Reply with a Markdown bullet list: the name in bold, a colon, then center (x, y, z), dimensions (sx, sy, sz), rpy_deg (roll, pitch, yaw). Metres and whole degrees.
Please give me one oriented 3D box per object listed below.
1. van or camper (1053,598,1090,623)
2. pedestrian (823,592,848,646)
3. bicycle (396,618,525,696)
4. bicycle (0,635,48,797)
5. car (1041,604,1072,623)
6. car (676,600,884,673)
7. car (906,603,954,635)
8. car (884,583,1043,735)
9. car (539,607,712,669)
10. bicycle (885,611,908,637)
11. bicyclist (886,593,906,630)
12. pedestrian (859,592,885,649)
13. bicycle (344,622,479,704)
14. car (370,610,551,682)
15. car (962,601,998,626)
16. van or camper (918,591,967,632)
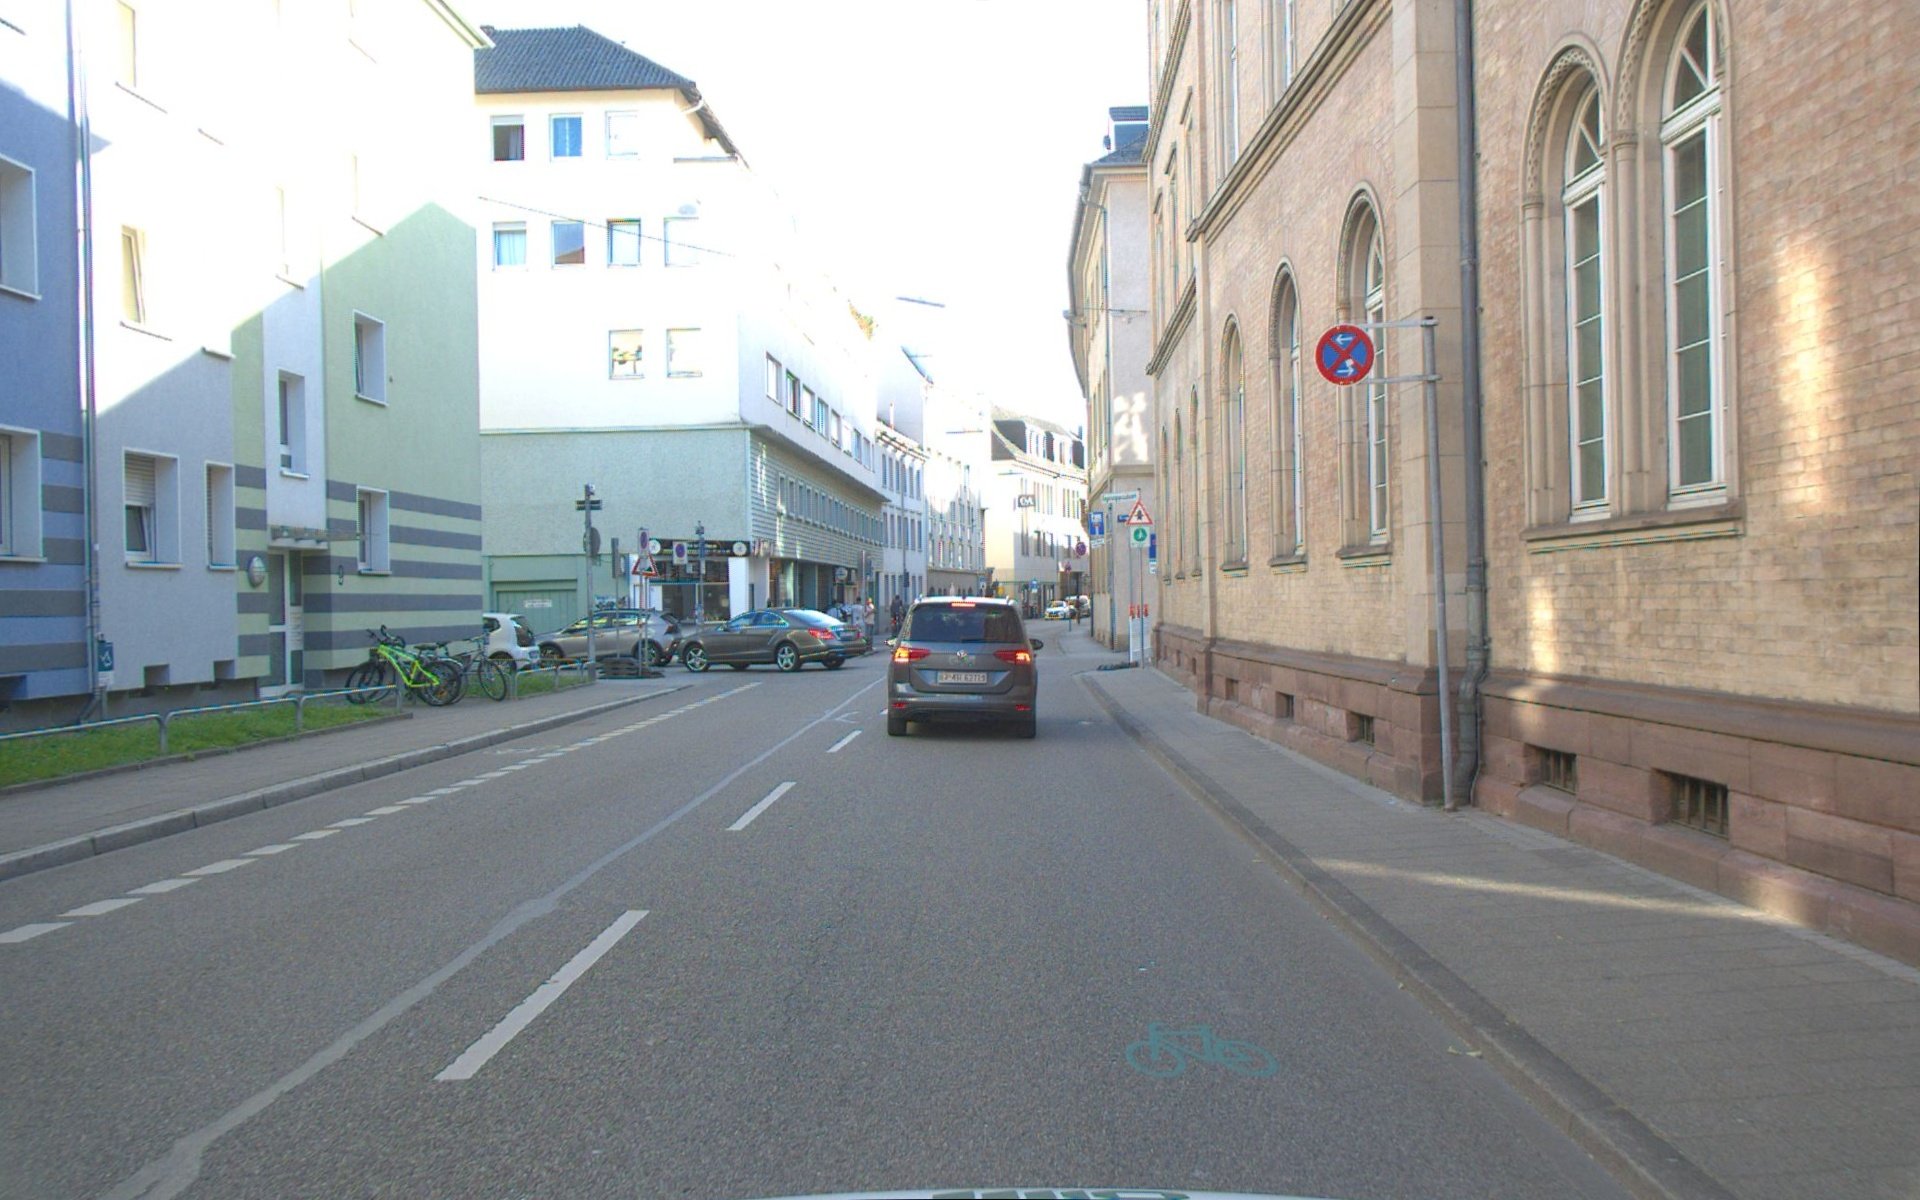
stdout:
- **van or camper**: center (9.368, 0.889, 138.593), dimensions (1.951, 2.049, 5.001), rpy_deg (-1, 0, 17)
- **pedestrian**: center (-4.308, 0.666, 57.320), dimensions (0.544, 1.861, 0.730), rpy_deg (-1, 0, 25)
- **bicycle**: center (-8.134, 0.927, 26.965), dimensions (1.893, 1.200, 0.612), rpy_deg (2, -1, -8)
- **bicycle**: center (-8.476, 0.926, 13.247), dimensions (1.968, 1.253, 0.623), rpy_deg (-1, 0, -2)
- **car**: center (7.739, 1.053, 132.890), dimensions (1.697, 1.493, 4.003), rpy_deg (-1, 0, 15)
- **car**: center (-4.200, 0.830, 38.364), dimensions (4.530, 1.569, 1.995), rpy_deg (-1, 0, 32)
- **car**: center (-1.443, 0.930, 80.887), dimensions (1.826, 1.494, 3.836), rpy_deg (-1, 0, 6)
- **car**: center (0.069, 0.661, 20.446), dimensions (1.726, 1.635, 4.000), rpy_deg (2, 0, 1)
- **car**: center (-8.653, 0.976, 42.962), dimensions (4.012, 1.468, 1.948), rpy_deg (-1, 0, 3)
- **bicycle**: center (-2.715, 1.025, 70.731), dimensions (0.814, 1.073, 2.549), rpy_deg (-1, 0, 1)
- **bicyclist**: center (-2.722, 0.482, 70.794), dimensions (0.814, 1.589, 0.759), rpy_deg (-1, 0, 1)
- **pedestrian**: center (-2.901, 0.662, 54.388), dimensions (0.544, 1.861, 0.730), rpy_deg (-1, 0, 25)
- **bicycle**: center (-8.431, 0.970, 25.499), dimensions (1.896, 1.200, 0.611), rpy_deg (2, -1, -15)
- **car**: center (-11.166, 1.021, 37.137), dimensions (3.427, 1.468, 1.814), rpy_deg (-1, 0, 3)
- **car**: center (1.261, 0.853, 102.758), dimensions (1.826, 1.494, 3.836), rpy_deg (-1, 0, 6)
- **van or camper**: center (-0.870, 0.574, 86.614), dimensions (1.951, 2.049, 4.486), rpy_deg (-1, 0, 7)
